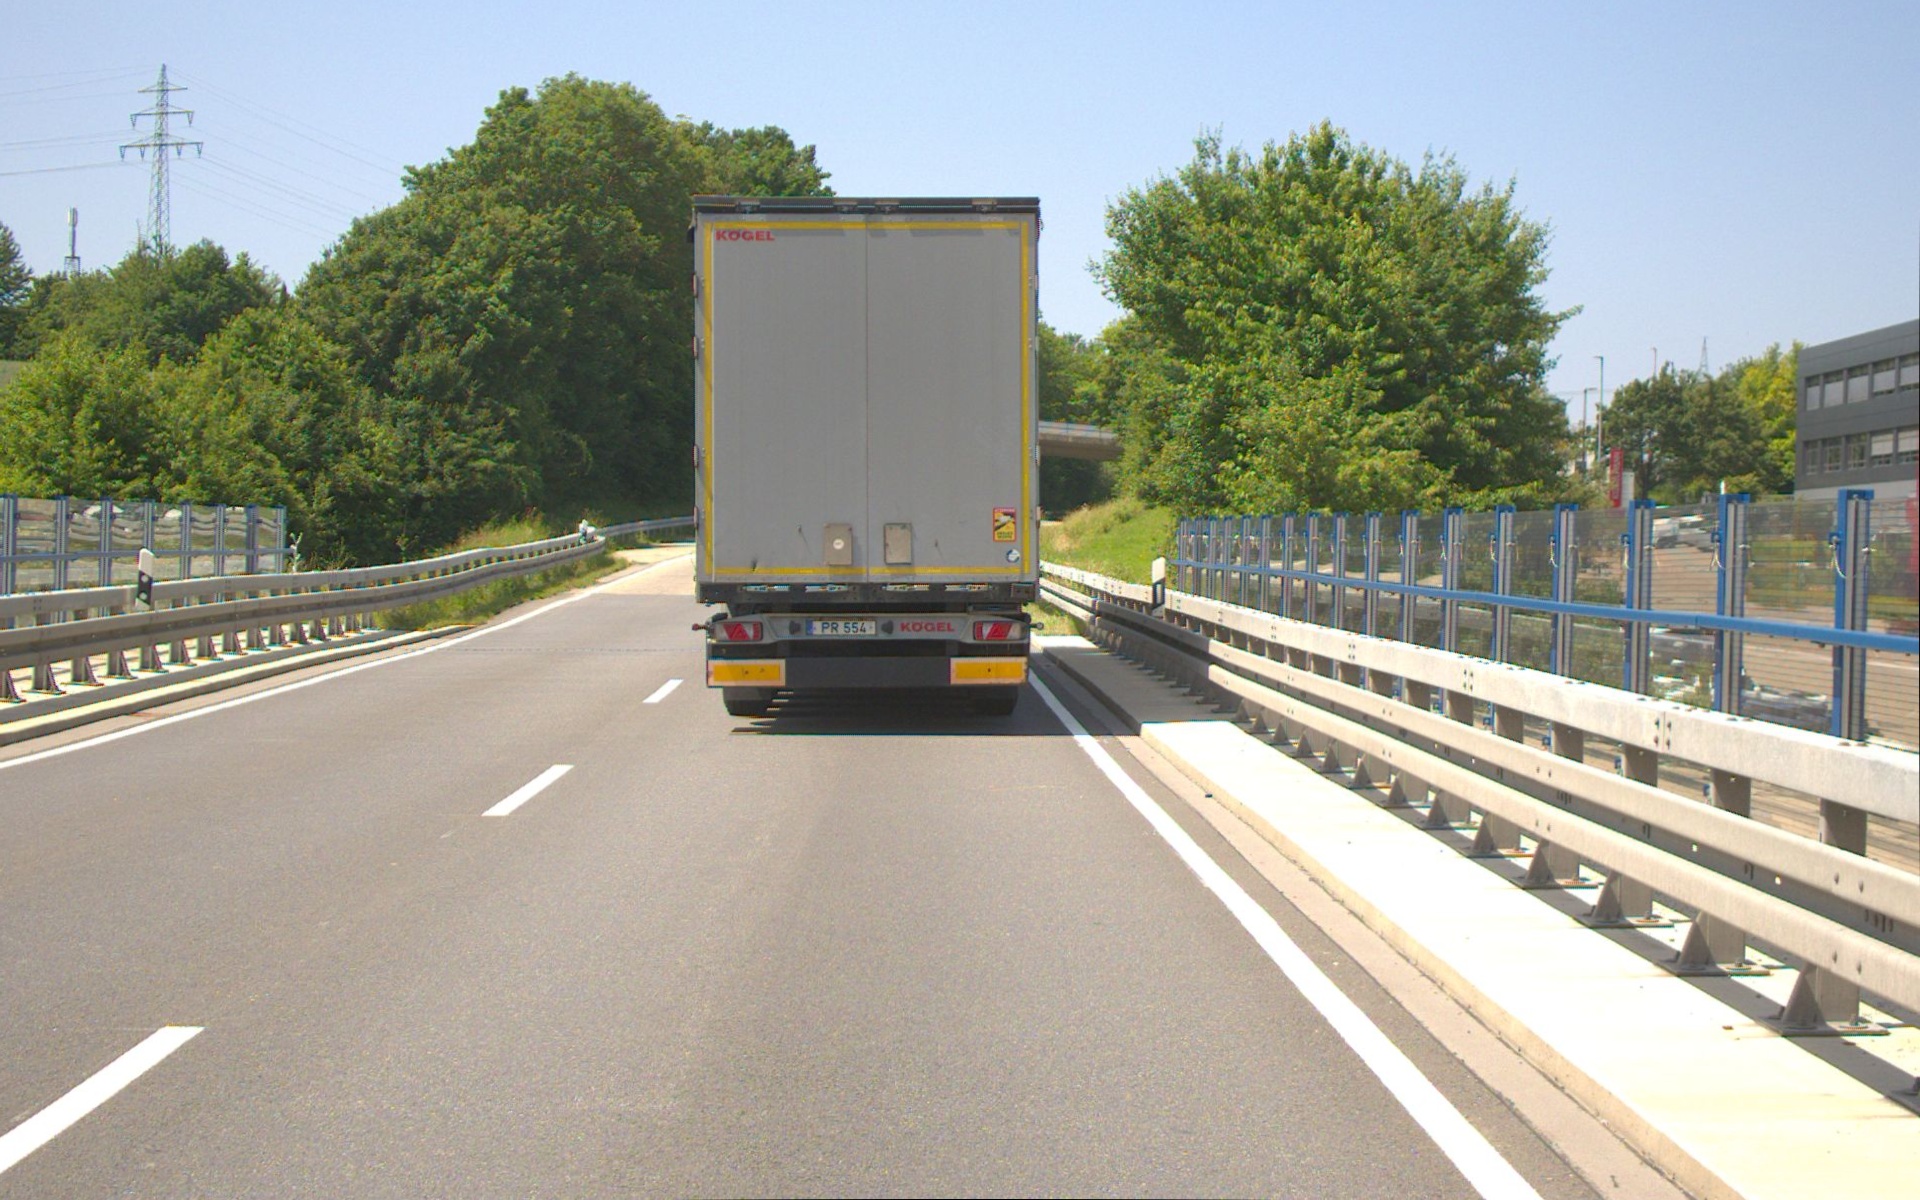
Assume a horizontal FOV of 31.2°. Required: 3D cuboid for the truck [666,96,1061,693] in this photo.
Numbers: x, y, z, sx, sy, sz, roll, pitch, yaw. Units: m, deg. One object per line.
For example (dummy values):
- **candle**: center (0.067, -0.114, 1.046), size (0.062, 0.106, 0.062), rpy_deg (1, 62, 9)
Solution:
- **truck**: center (-0.813, -1.465, 29.910), size (2.866, 4.345, 9.789), rpy_deg (0, 0, -1)
